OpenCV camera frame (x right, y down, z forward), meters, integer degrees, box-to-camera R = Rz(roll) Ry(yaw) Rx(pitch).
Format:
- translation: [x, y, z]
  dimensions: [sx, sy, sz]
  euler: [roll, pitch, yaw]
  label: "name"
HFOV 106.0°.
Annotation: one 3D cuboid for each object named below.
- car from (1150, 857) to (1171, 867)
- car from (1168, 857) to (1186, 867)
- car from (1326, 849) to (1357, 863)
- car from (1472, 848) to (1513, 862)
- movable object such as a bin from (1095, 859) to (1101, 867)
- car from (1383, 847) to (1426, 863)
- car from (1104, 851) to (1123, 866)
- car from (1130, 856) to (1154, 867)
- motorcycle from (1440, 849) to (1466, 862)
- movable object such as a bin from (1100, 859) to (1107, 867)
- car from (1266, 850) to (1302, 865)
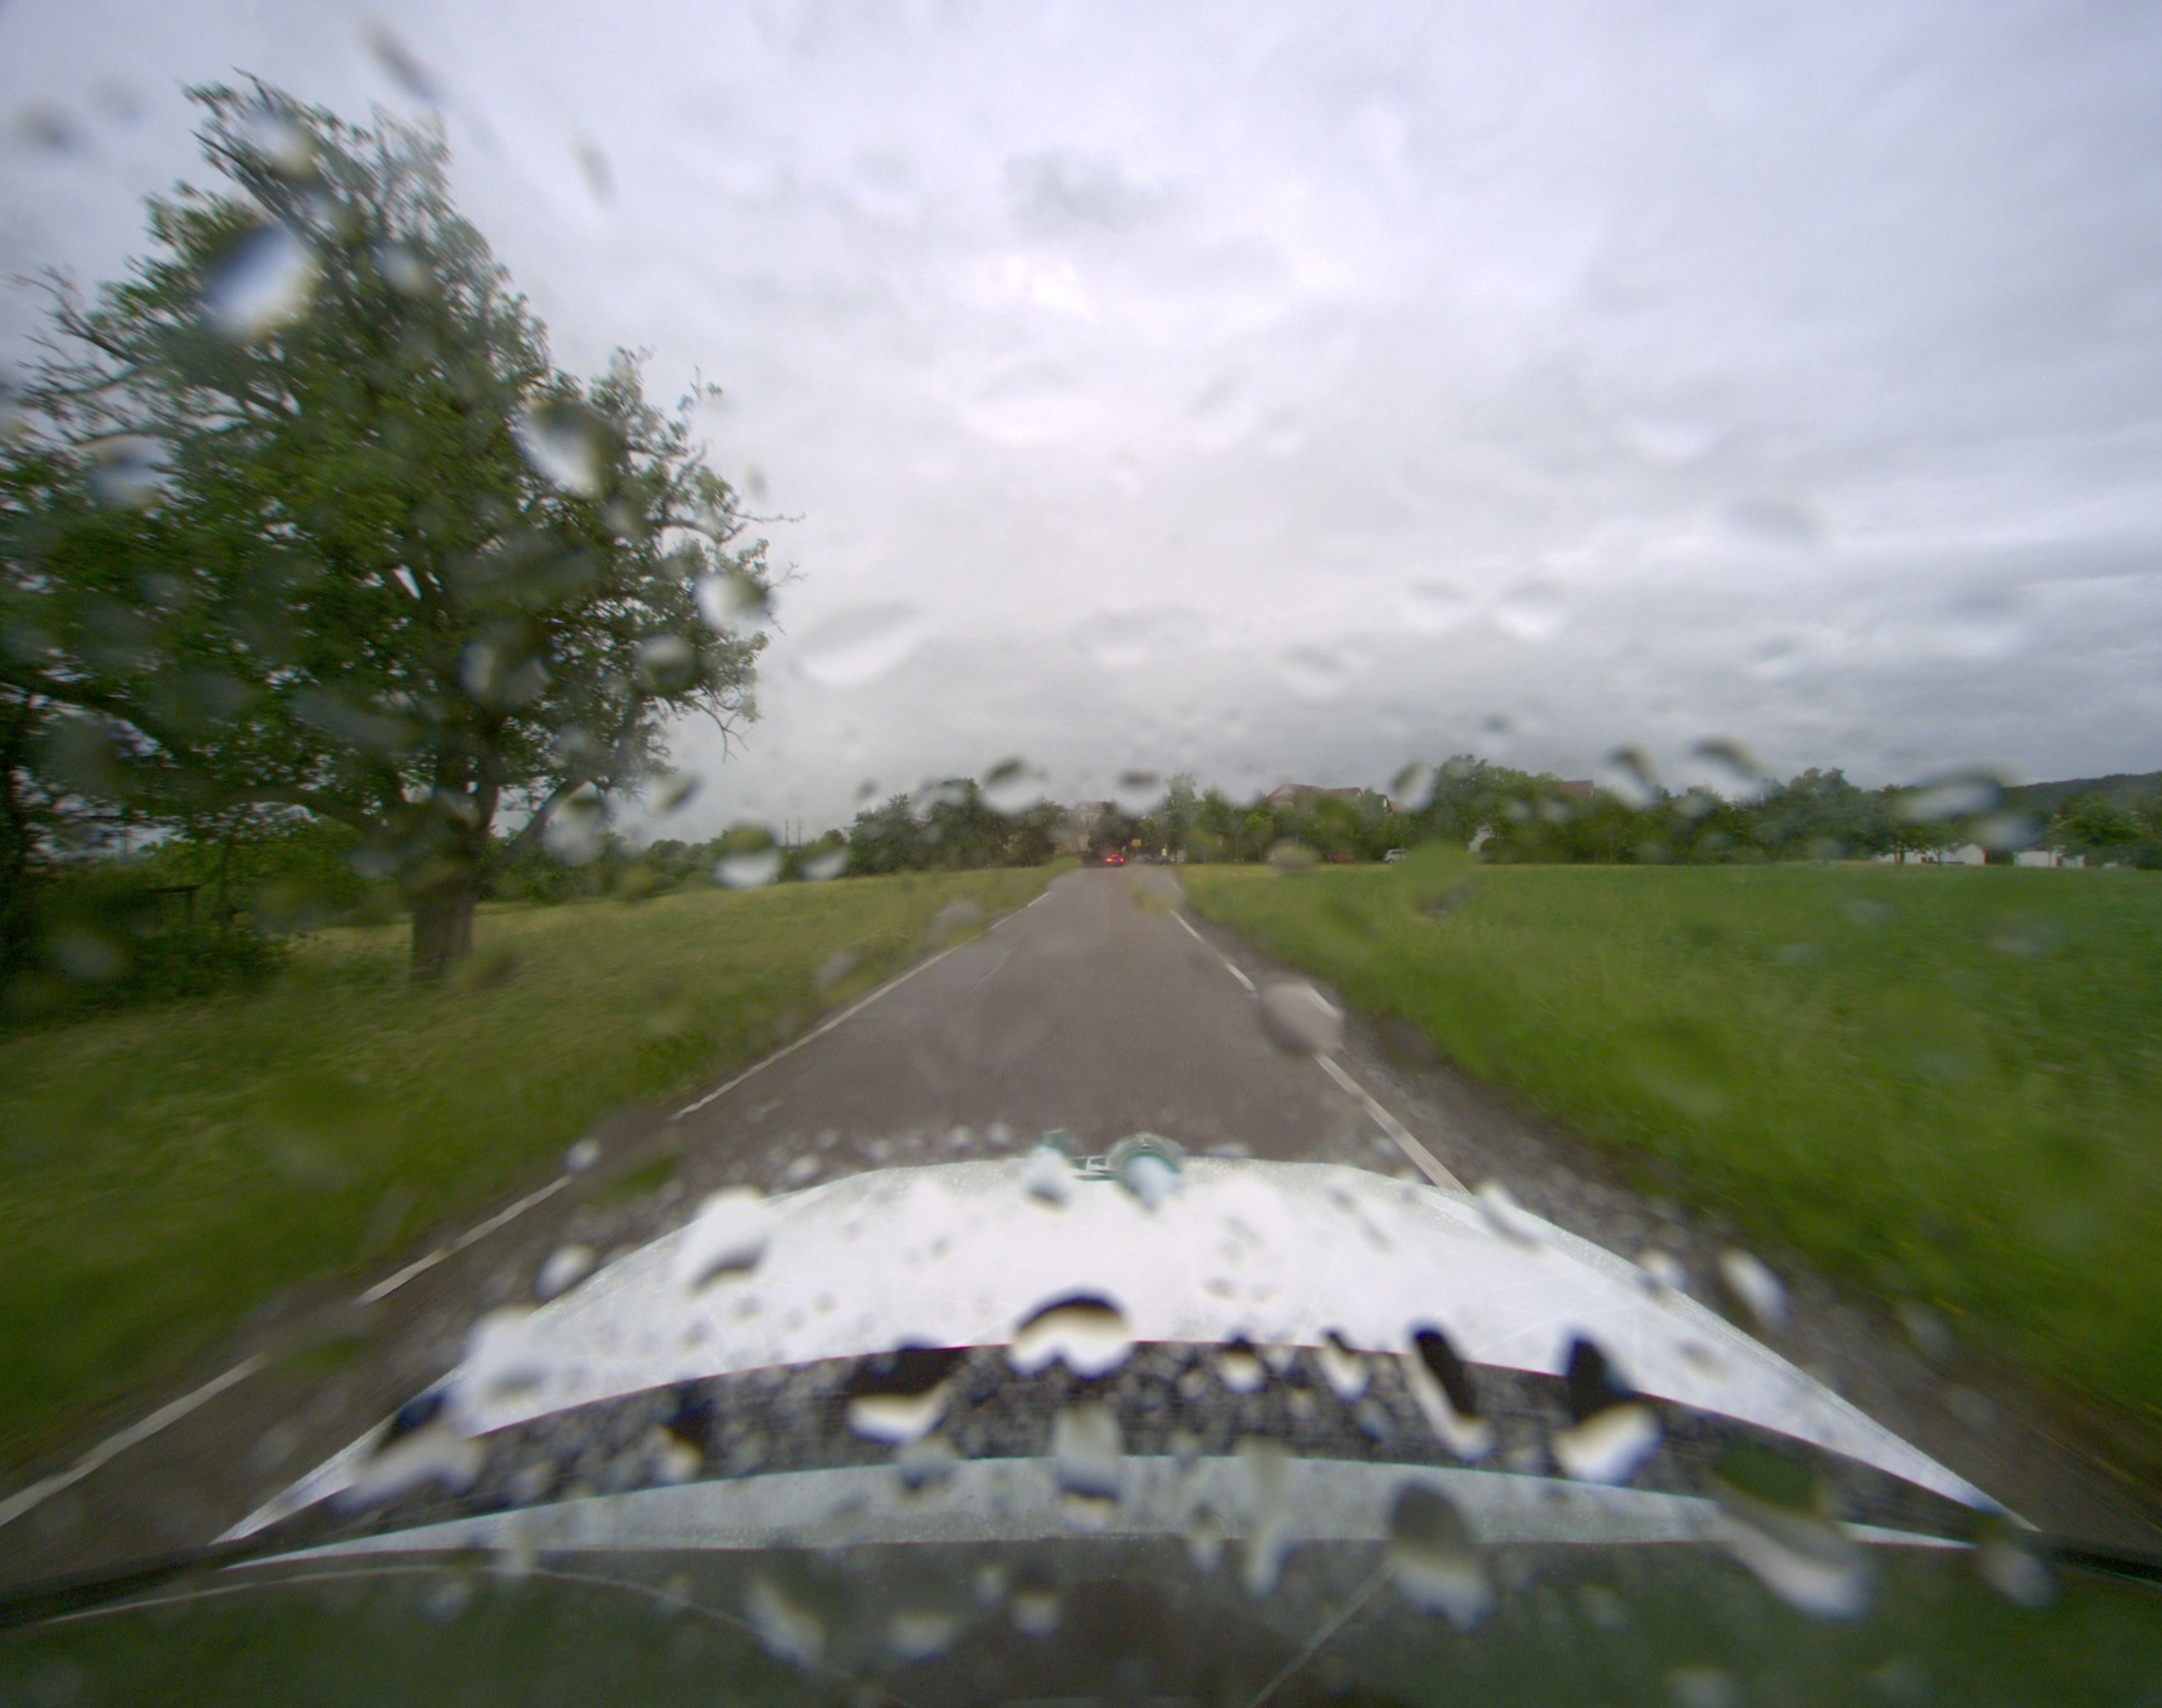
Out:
- translation: [11.901, 1.198, 121.556]
  dimensions: [1.619, 1.409, 3.627]
  euler: [1, 0, 32]
  label: "car"
- translation: [14.848, 1.175, 126.104]
  dimensions: [1.496, 1.476, 3.294]
  euler: [1, 0, 33]
  label: "car"
- translation: [27.352, 0.250, 85.490]
  dimensions: [2.977, 1.436, 1.561]
  euler: [-1, -1, 19]
  label: "car"
- translation: [41.268, 0.132, 81.730]
  dimensions: [3.294, 1.281, 1.740]
  euler: [-1, -1, 13]
  label: "car"
- translation: [2.220, 1.175, 105.629]
  dimensions: [0.659, 1.073, 0.547]
  euler: [-2, -1, 23]
  label: "movable object such as a bin"
- translation: [33.279, 0.103, 83.935]
  dimensions: [3.948, 1.552, 1.859]
  euler: [0, 0, 14]
  label: "car"
- translation: [3.481, 0.474, 88.050]
  dimensions: [1.683, 1.552, 3.691]
  euler: [-1, -1, -4]
  label: "car"
- translation: [8.754, 1.126, 116.694]
  dimensions: [1.758, 1.518, 4.163]
  euler: [1, 0, 30]
  label: "car"
- translation: [37.606, 0.176, 82.356]
  dimensions: [2.241, 1.302, 0.975]
  euler: [0, 0, 14]
  label: "motorcycle"
- translation: [2.954, 1.157, 105.323]
  dimensions: [0.688, 1.075, 0.605]
  euler: [-2, 0, 22]
  label: "movable object such as a bin"
- translation: [21.793, 0.385, 87.264]
  dimensions: [3.513, 1.479, 1.688]
  euler: [-2, -2, 20]
  label: "car"
